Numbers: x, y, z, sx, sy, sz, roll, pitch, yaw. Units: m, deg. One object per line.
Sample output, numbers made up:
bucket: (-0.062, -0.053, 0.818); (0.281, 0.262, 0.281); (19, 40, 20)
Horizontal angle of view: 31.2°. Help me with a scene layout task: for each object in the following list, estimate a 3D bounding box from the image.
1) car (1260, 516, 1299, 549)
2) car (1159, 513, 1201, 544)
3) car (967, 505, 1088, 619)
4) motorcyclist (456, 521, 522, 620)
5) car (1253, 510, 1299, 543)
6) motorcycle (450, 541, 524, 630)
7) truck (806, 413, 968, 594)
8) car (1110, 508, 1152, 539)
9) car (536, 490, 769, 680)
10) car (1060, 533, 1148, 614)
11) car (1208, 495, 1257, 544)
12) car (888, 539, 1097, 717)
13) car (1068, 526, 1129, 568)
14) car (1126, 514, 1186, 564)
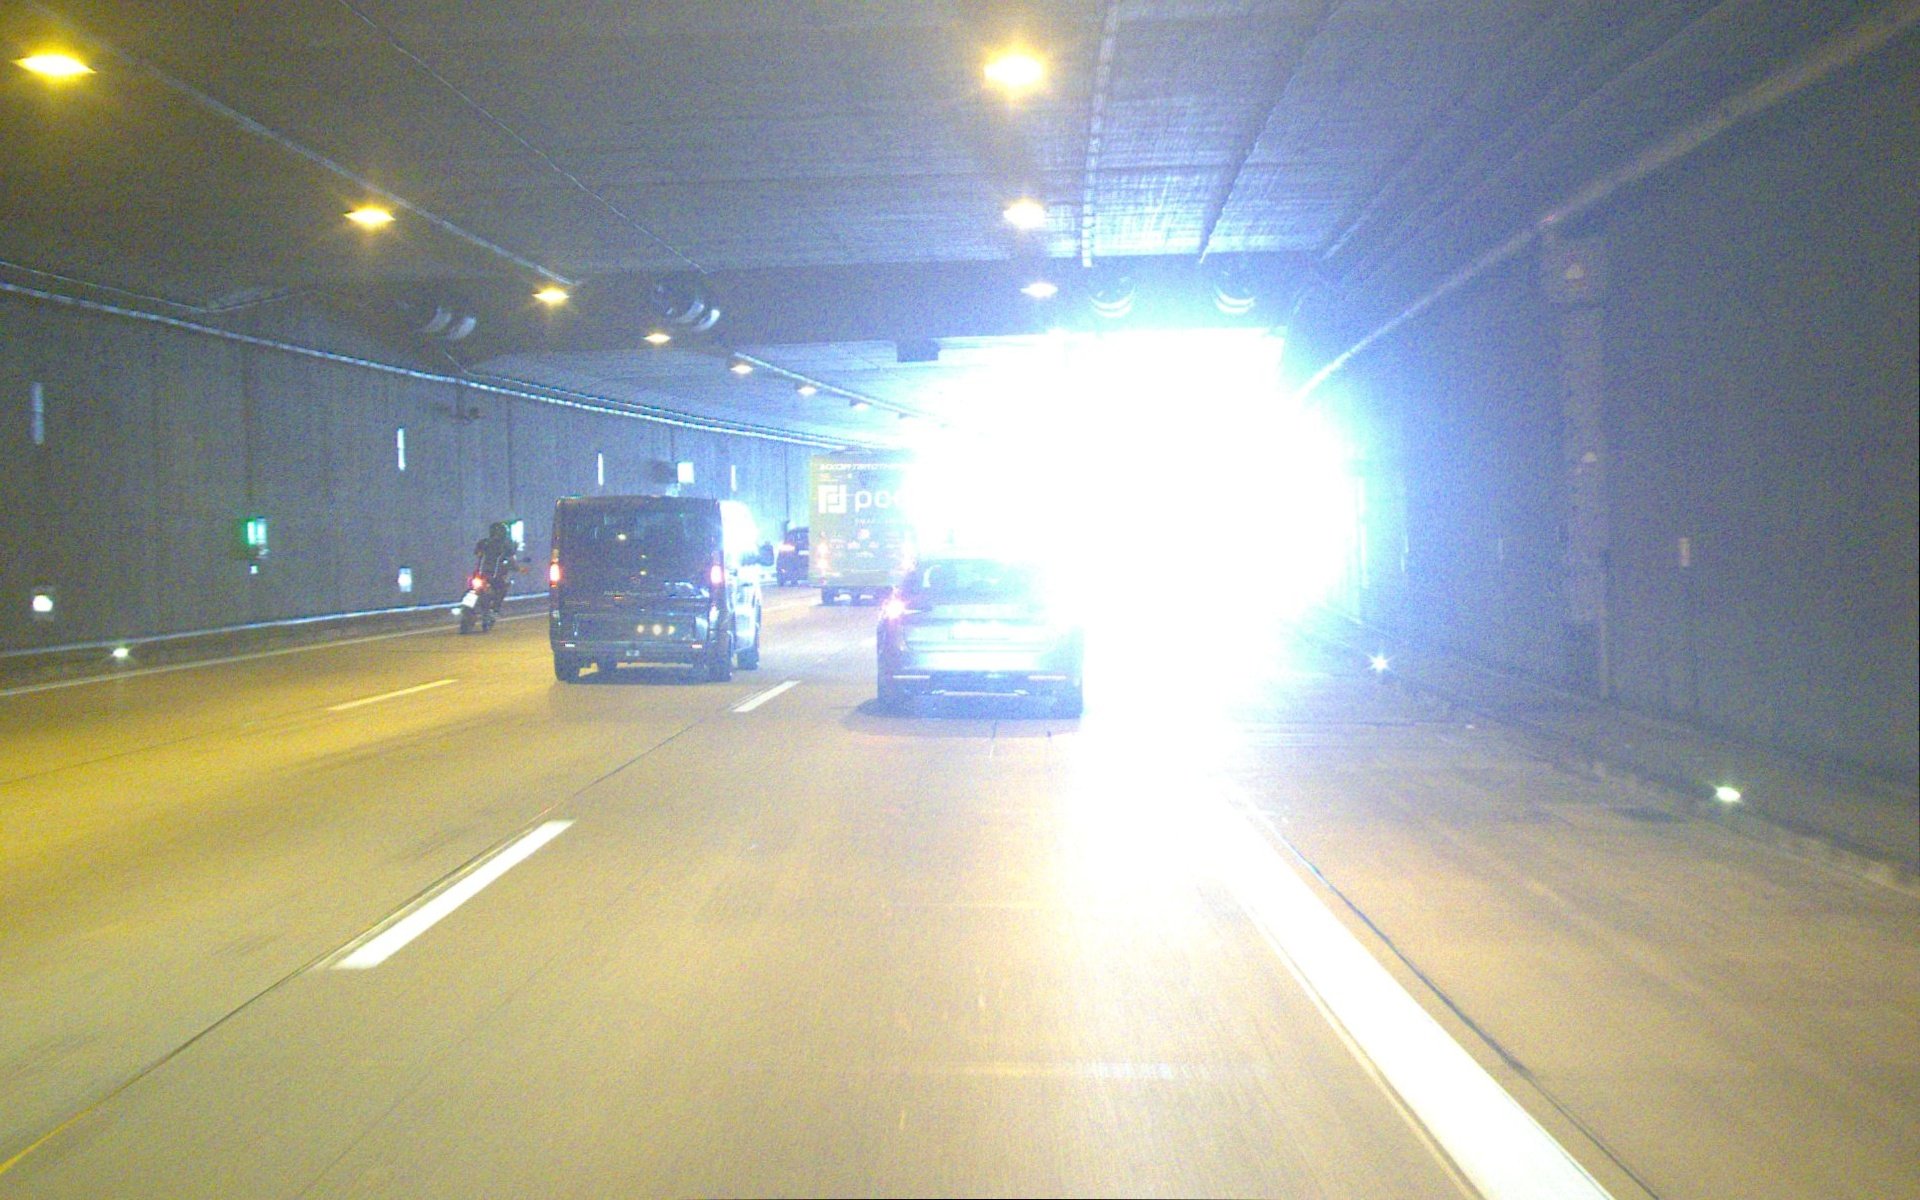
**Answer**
car: (17.230, -3.635, 185.252); (1.931, 1.637, 3.999); (2, 0, 7)
car: (12.905, -4.185, 201.556); (1.931, 1.637, 3.998); (0, -1, 11)
car: (1.169, -0.651, 57.888); (1.857, 1.848, 4.000); (0, 1, 4)
motorcyclist: (-7.026, -0.434, 51.281); (0.777, 1.448, 1.068); (0, -1, 4)
car: (15.951, -3.718, 173.450); (1.931, 1.637, 3.998); (0, 1, 10)
motorcycle: (-7.040, -0.195, 51.249); (0.683, 1.292, 2.398); (0, -1, 2)
truck: (-1.479, -2.022, 73.451); (3.039, 3.660, 7.392); (0, 1, 2)
car: (9.247, -4.108, 185.749); (1.931, 1.637, 3.999); (0, 1, 7)
car: (-3.243, -0.202, 36.998); (1.910, 1.937, 3.871); (0, 1, 4)
car: (3.363, -0.597, 79.778); (1.950, 1.766, 3.999); (0, -1, 4)
car: (11.998, -3.538, 151.562); (1.994, 2.007, 3.999); (0, -1, 2)
car: (0.325, 0.202, 30.645); (1.742, 1.459, 3.871); (0, 1, 2)
car: (5.562, -2.107, 137.698); (1.994, 1.626, 3.998); (0, 0, 9)
car: (7.013, -2.173, 122.500); (1.931, 1.637, 3.999); (0, -1, 6)
